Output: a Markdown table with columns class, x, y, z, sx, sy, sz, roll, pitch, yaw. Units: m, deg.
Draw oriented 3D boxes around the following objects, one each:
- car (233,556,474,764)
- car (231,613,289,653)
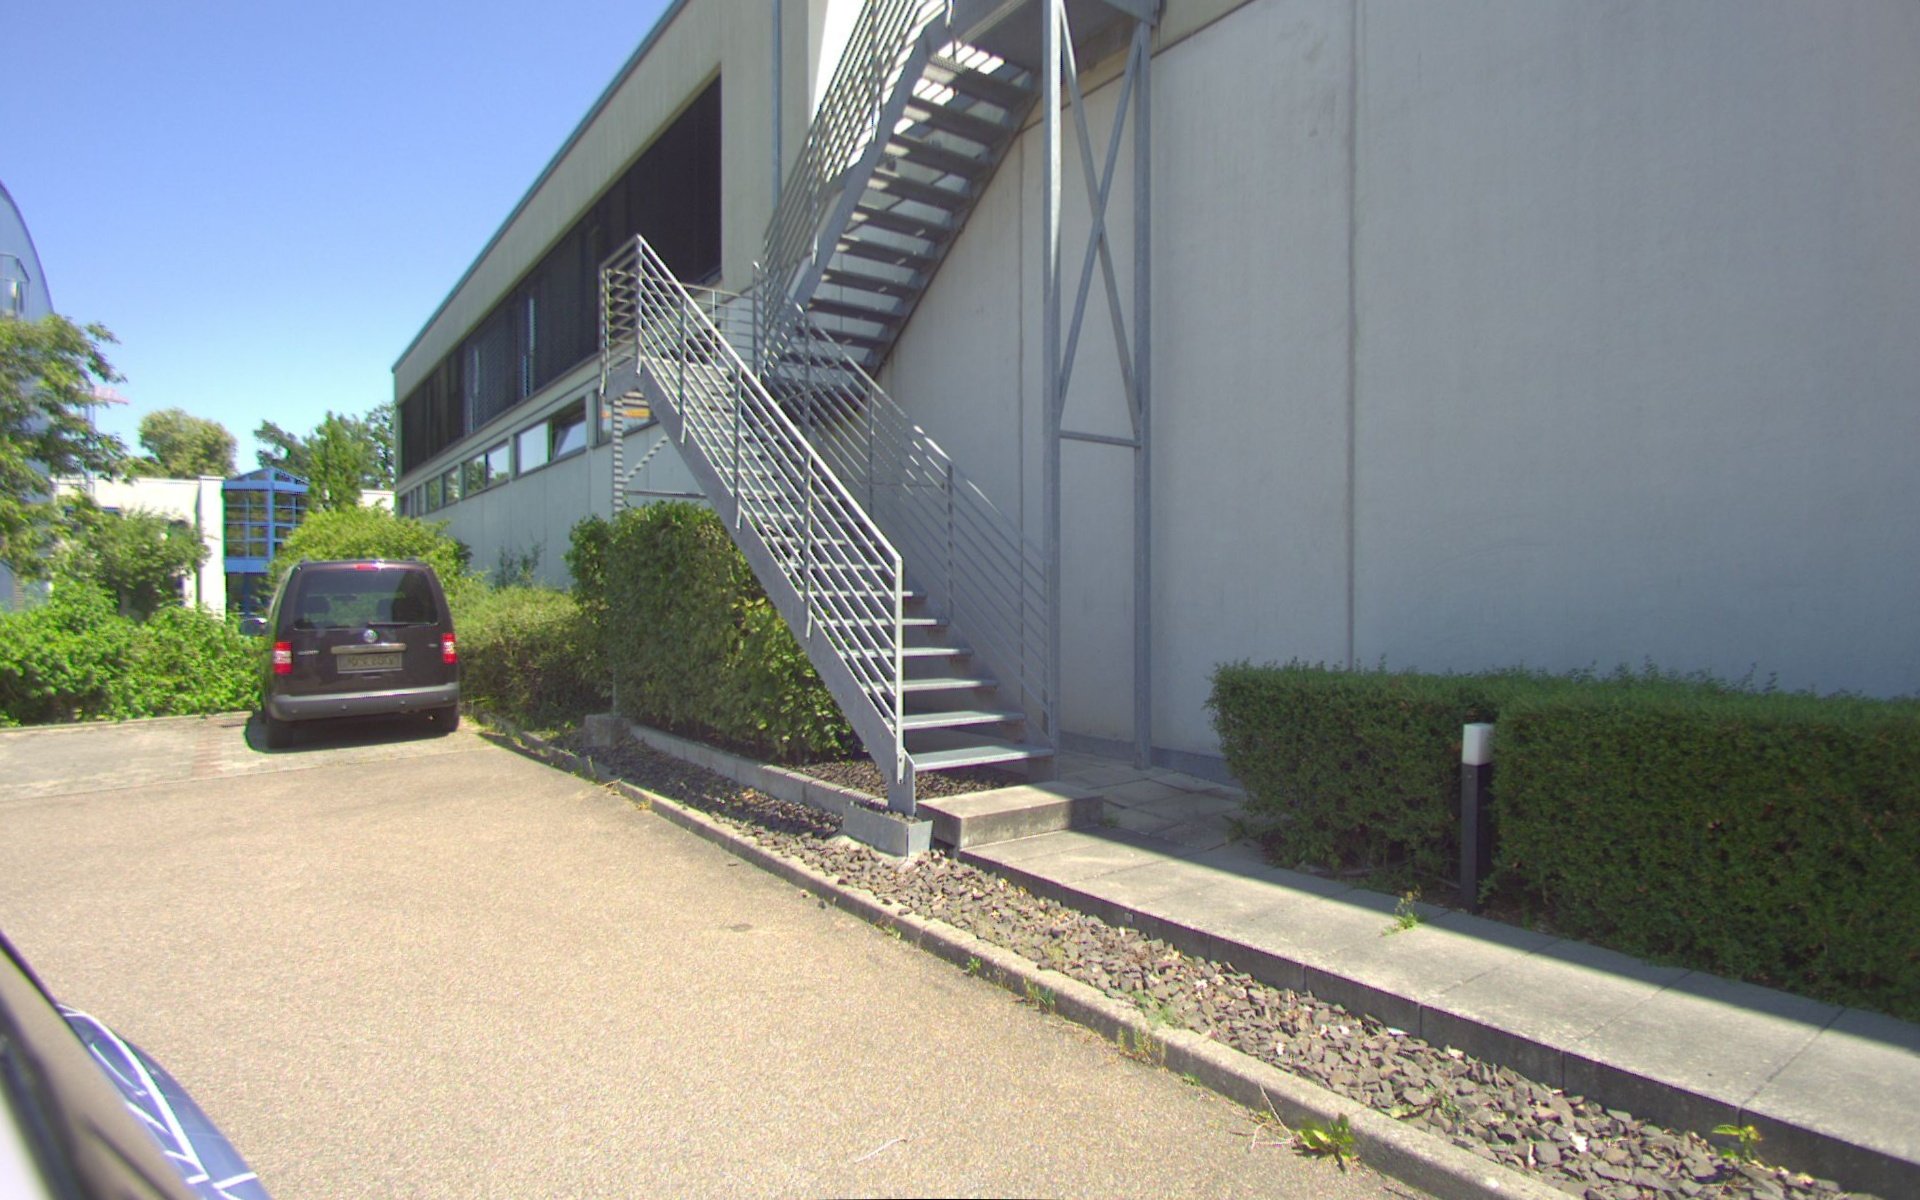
| class | x | y | z | sx | sy | sz | roll | pitch | yaw |
| --- | --- | --- | --- | --- | --- | --- | --- | --- | --- |
| car | -6.955 | 0.530 | 11.385 | 1.838 | 1.874 | 4.238 | -1 | 1 | -37 |
| car | -31.975 | 1.466 | 46.161 | 1.808 | 1.579 | 4.007 | -1 | 1 | -40 |
